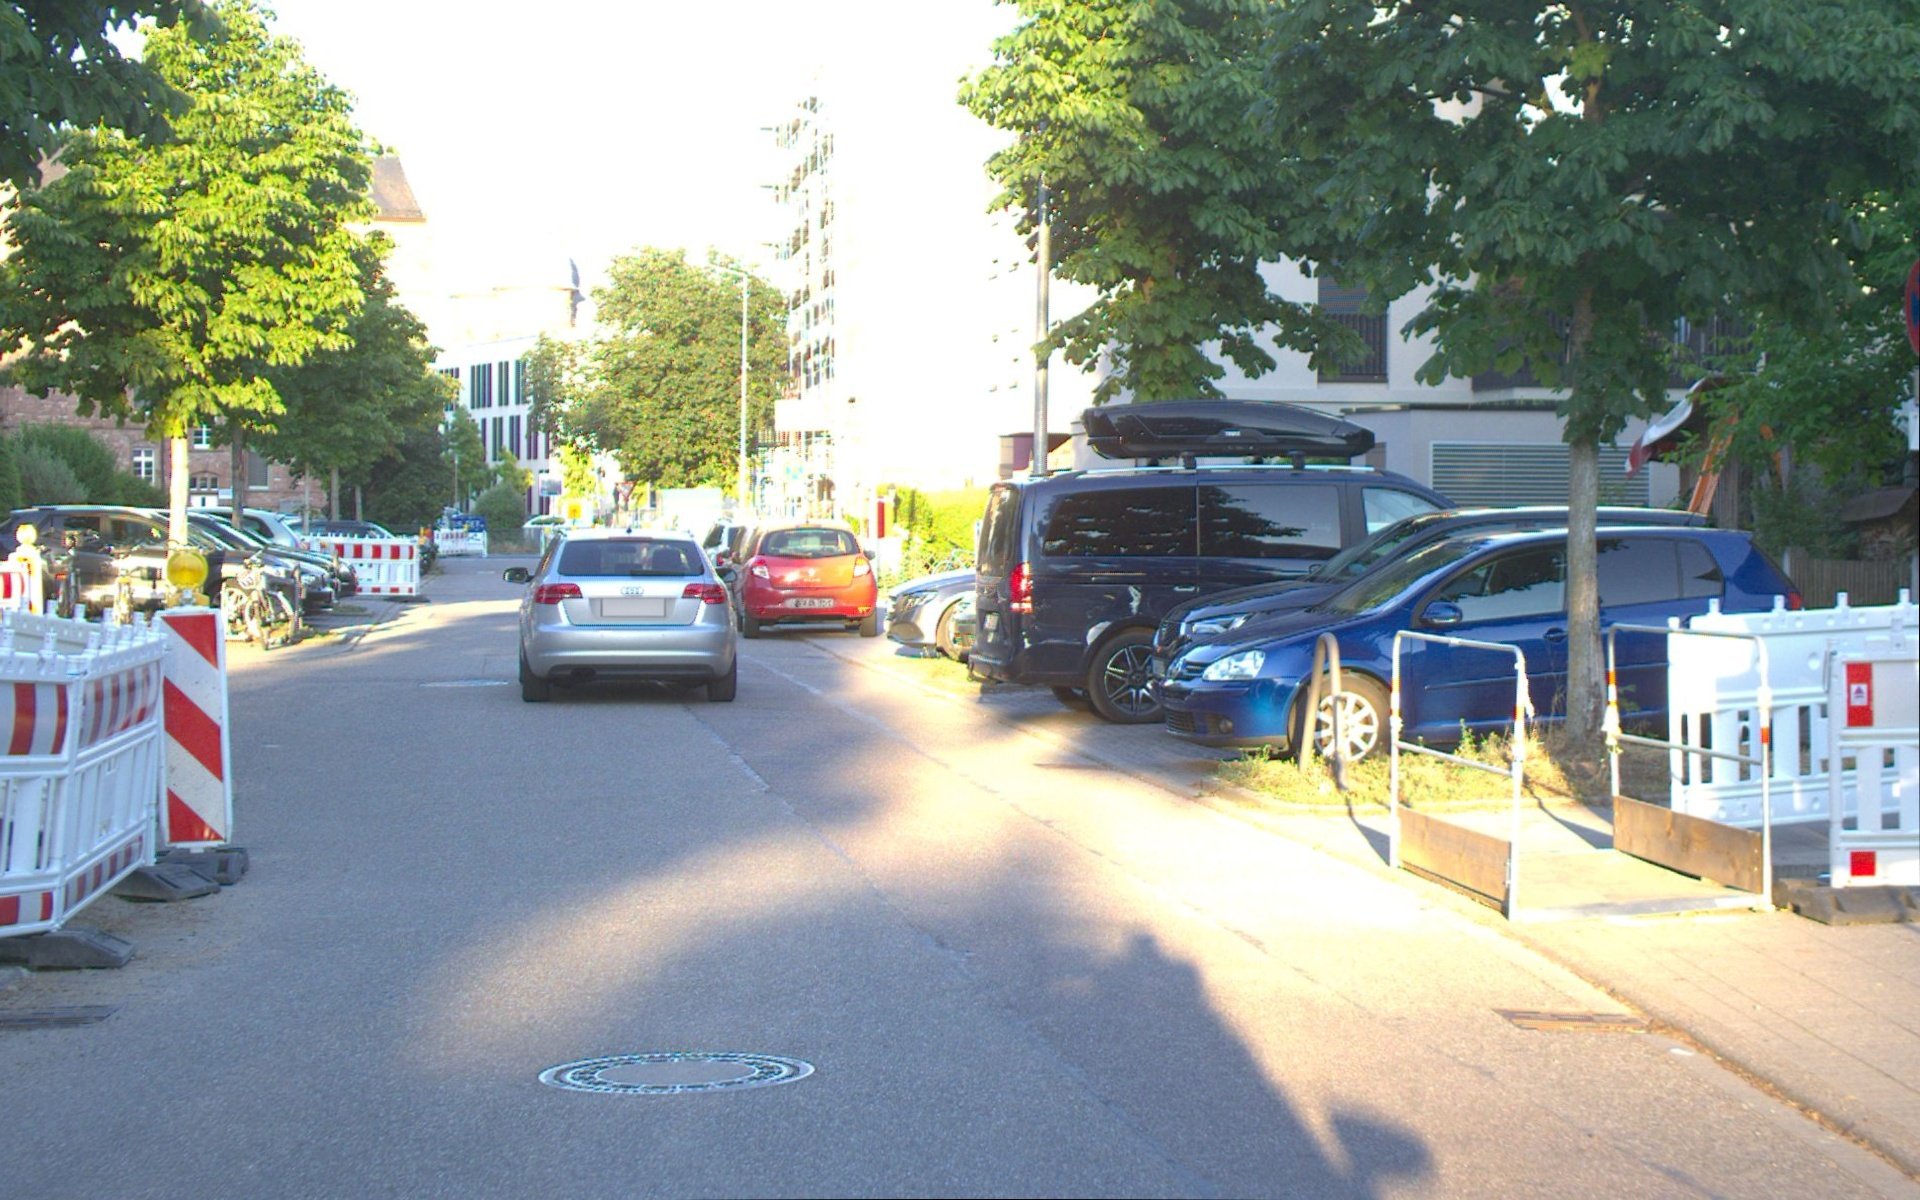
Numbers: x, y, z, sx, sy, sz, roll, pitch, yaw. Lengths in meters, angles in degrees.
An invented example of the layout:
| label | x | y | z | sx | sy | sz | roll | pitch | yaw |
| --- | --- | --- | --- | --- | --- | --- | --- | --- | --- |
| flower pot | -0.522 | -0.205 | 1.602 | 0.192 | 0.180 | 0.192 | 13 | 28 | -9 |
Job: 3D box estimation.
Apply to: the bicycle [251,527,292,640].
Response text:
| label | x | y | z | sx | sy | sz | roll | pitch | yaw |
| --- | --- | --- | --- | --- | --- | --- | --- | --- | --- |
| bicycle | -7.790 | -0.201 | 38.871 | 0.405 | 1.223 | 1.988 | 1 | 2 | -13 |

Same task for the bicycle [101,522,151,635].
| label | x | y | z | sx | sy | sz | roll | pitch | yaw |
| --- | --- | --- | --- | --- | --- | --- | --- | --- | --- |
| bicycle | -9.418 | -0.263 | 38.851 | 0.406 | 1.223 | 1.988 | 1 | 2 | -10 |

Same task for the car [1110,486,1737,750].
| label | x | y | z | sx | sy | sz | roll | pitch | yaw |
| --- | --- | --- | --- | --- | --- | --- | --- | --- | --- |
| car | 3.241 | 0.105 | 24.503 | 3.986 | 1.762 | 2.001 | 1 | 2 | -9 |

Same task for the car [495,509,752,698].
| label | x | y | z | sx | sy | sz | roll | pitch | yaw |
| --- | --- | --- | --- | --- | --- | --- | --- | --- | --- |
| car | -2.915 | -0.018 | 29.096 | 1.807 | 1.483 | 4.001 | 0 | 1 | -11 |

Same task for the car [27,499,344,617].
| label | x | y | z | sx | sy | sz | roll | pitch | yaw |
| --- | --- | --- | --- | --- | --- | --- | --- | --- | --- |
| car | -10.277 | -0.576 | 45.899 | 3.986 | 1.475 | 2.001 | 1 | 2 | -9 |

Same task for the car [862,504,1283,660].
| label | x | y | z | sx | sy | sz | roll | pitch | yaw |
| --- | --- | --- | --- | --- | --- | --- | --- | --- | --- |
| car | 1.169 | -0.201 | 36.631 | 4.148 | 1.566 | 1.798 | 1 | 2 | -12 |

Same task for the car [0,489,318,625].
| label | x | y | z | sx | sy | sz | roll | pitch | yaw |
| --- | --- | --- | --- | --- | --- | --- | --- | --- | --- |
| car | -10.168 | -0.559 | 43.388 | 3.986 | 1.620 | 2.001 | 1 | 2 | -9 |

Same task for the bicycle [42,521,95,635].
| label | x | y | z | sx | sy | sz | roll | pitch | yaw |
| --- | --- | --- | --- | --- | --- | --- | --- | --- | --- |
| bicycle | -10.023 | -0.263 | 38.680 | 0.406 | 1.223 | 1.988 | 1 | 2 | -10 |

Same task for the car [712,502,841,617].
| label | x | y | z | sx | sy | sz | roll | pitch | yaw |
| --- | --- | --- | --- | --- | --- | --- | --- | --- | --- |
| car | -2.695 | -0.615 | 49.918 | 1.663 | 1.568 | 3.441 | 1 | 2 | -6 |

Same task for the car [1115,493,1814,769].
| label | x | y | z | sx | sy | sz | roll | pitch | yaw |
| --- | --- | --- | --- | --- | --- | --- | --- | --- | --- |
| car | 3.148 | 0.179 | 21.785 | 3.986 | 1.645 | 1.765 | 1 | 2 | -12 |

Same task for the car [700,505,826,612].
| label | x | y | z | sx | sy | sz | roll | pitch | yaw |
| --- | --- | --- | --- | --- | --- | --- | --- | --- | --- |
| car | -3.166 | -0.680 | 54.709 | 1.808 | 1.607 | 3.582 | 1 | 2 | -6 |

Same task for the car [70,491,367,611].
| label | x | y | z | sx | sy | sz | roll | pitch | yaw |
| --- | --- | --- | --- | --- | --- | --- | --- | --- | --- |
| car | -10.433 | -0.705 | 48.615 | 3.986 | 1.600 | 1.874 | 1 | 2 | -9 |

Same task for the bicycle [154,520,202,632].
| label | x | y | z | sx | sy | sz | roll | pitch | yaw |
| --- | --- | --- | --- | --- | --- | --- | --- | --- | --- |
| bicycle | -8.841 | -0.287 | 38.907 | 0.406 | 1.223 | 1.988 | 1 | 2 | -10 |

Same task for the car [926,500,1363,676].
| label | x | y | z | sx | sy | sz | roll | pitch | yaw |
| --- | --- | --- | --- | --- | --- | --- | --- | --- | --- |
| car | 1.798 | -0.134 | 34.231 | 3.938 | 1.643 | 1.977 | 1 | 2 | -12 |

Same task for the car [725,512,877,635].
| label | x | y | z | sx | sy | sz | roll | pitch | yaw |
| --- | --- | --- | --- | --- | --- | --- | --- | --- | --- |
| car | -2.094 | -0.367 | 44.383 | 1.730 | 1.478 | 3.558 | 1 | 2 | -6 |

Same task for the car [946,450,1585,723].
| label | x | y | z | sx | sy | sz | roll | pitch | yaw |
| --- | --- | --- | --- | --- | --- | --- | --- | --- | --- |
| car | 2.316 | -0.126 | 26.802 | 4.555 | 2.016 | 2.102 | 0 | 2 | -10 |
